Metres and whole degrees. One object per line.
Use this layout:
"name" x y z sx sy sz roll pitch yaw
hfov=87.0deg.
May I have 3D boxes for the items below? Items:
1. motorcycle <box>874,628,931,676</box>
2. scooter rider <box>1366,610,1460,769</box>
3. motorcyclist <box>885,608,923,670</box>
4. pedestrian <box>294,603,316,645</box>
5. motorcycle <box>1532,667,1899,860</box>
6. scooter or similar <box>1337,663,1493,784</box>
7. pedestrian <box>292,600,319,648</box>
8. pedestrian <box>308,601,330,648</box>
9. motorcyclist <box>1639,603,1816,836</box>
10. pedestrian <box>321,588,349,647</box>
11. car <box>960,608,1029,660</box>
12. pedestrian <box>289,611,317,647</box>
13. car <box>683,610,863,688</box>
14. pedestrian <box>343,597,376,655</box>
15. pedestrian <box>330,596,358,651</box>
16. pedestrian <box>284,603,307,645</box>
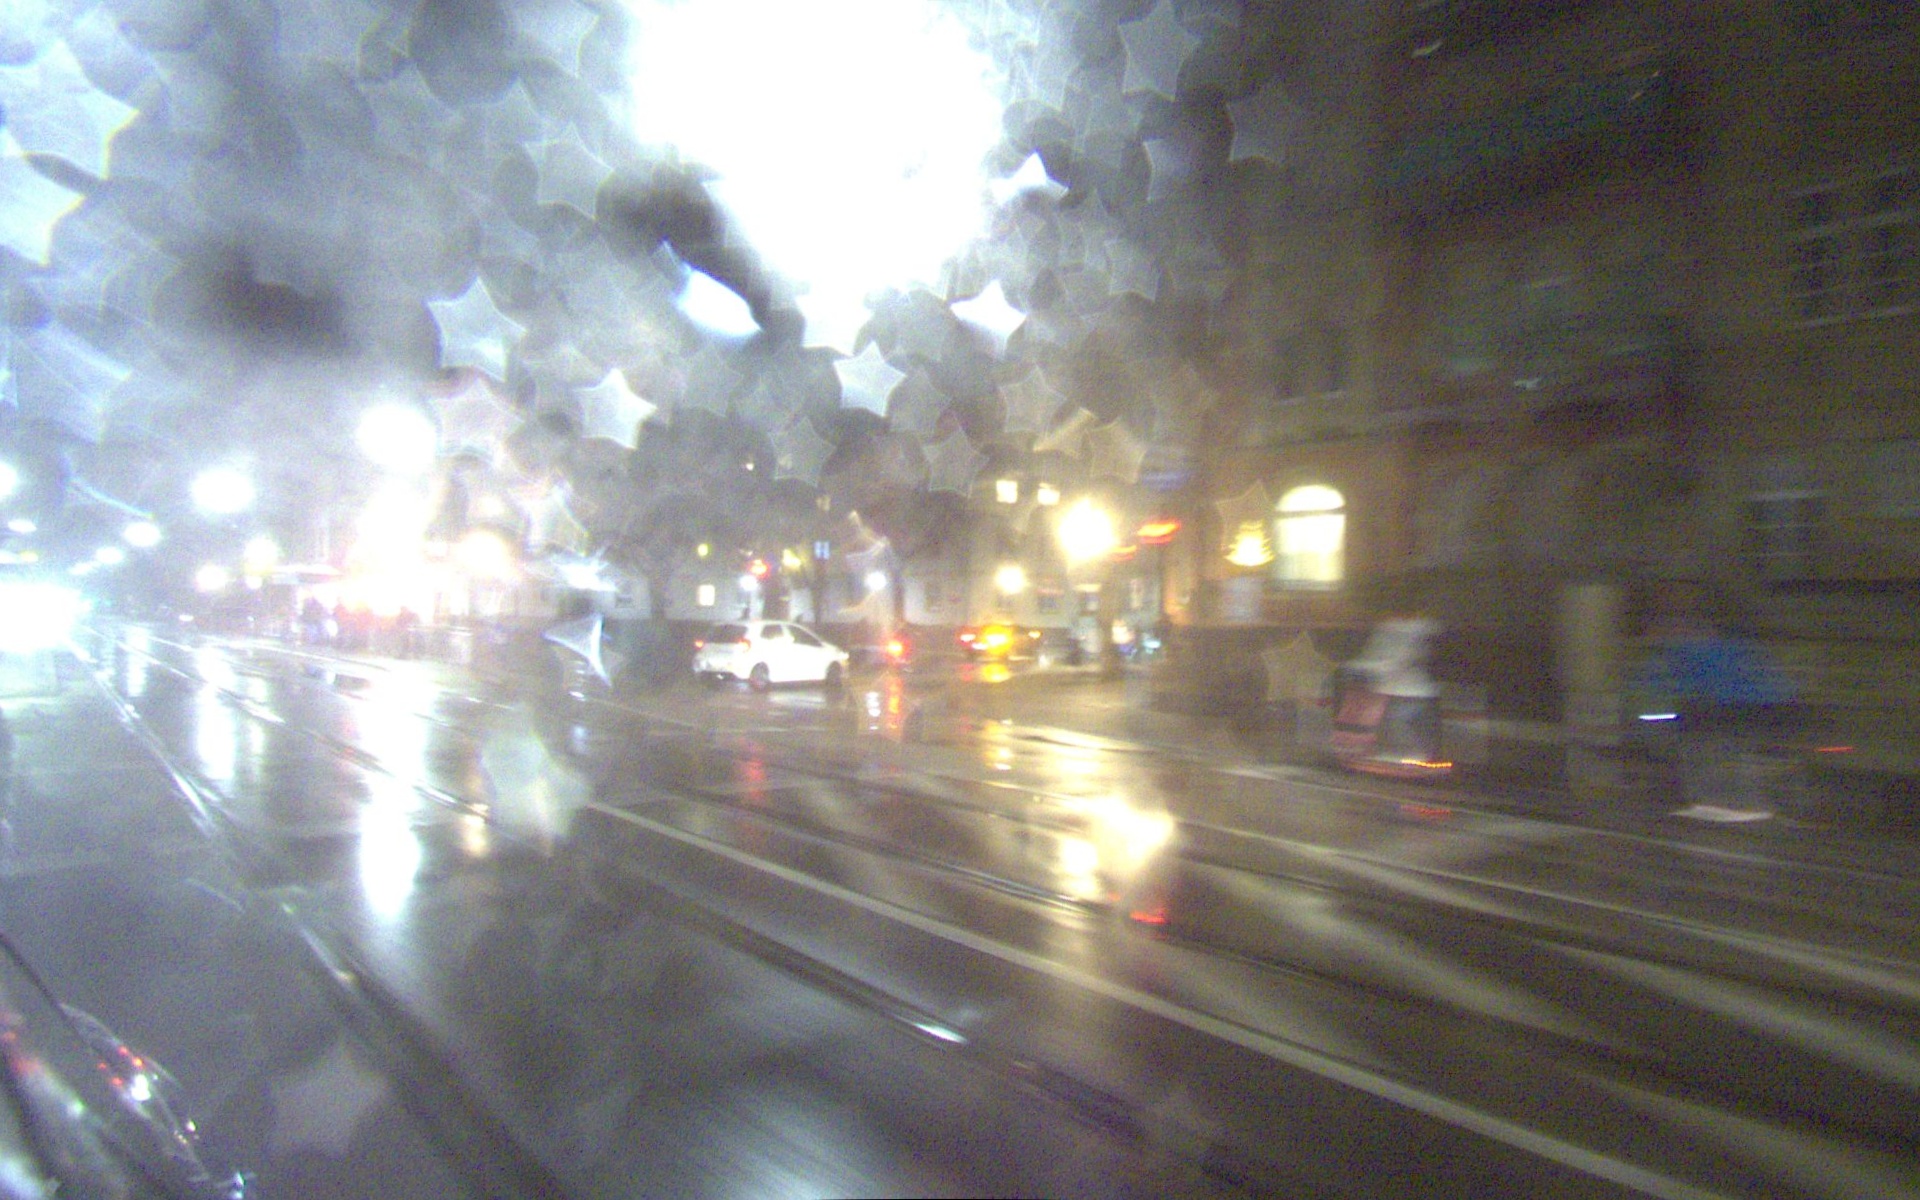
"motorcycle" -1.608 1.448 28.738 0.786 1.222 2.234 1 0 21
"scooter rider" 4.751 0.907 10.636 0.631 1.585 0.654 -1 1 -32
"motorcyclist" -1.596 1.087 28.727 0.786 1.707 0.814 1 0 21
"pedestrian" -24.310 0.891 37.547 0.584 1.539 0.475 0 1 30
"motorcycle" 6.132 1.252 8.358 0.699 1.239 2.328 5 -3 -43
"scooter or similar" 4.751 1.257 10.639 0.631 1.060 1.373 -1 1 -32
"pedestrian" -23.301 0.844 36.013 0.552 1.664 0.584 0 1 4
"pedestrian" -22.672 0.864 35.792 0.526 1.641 0.399 0 1 4
"motorcyclist" 6.248 0.922 8.252 0.699 1.744 1.029 5 -3 -43
"pedestrian" -21.522 0.596 34.840 0.859 2.001 0.601 1 1 44
"car" 1.346 1.233 38.114 1.738 1.752 3.780 1 0 15
"pedestrian" -23.776 1.039 36.640 0.616 1.263 0.584 0 1 4
"car" -4.033 1.019 22.239 1.922 1.527 3.554 1 -1 36
"pedestrian" -18.984 0.807 32.009 0.716 1.787 0.662 1 1 37
"pedestrian" -20.478 0.771 33.652 0.706 1.787 0.672 -1 1 -40
"pedestrian" -24.839 0.892 37.843 0.573 1.559 0.506 0 1 30
